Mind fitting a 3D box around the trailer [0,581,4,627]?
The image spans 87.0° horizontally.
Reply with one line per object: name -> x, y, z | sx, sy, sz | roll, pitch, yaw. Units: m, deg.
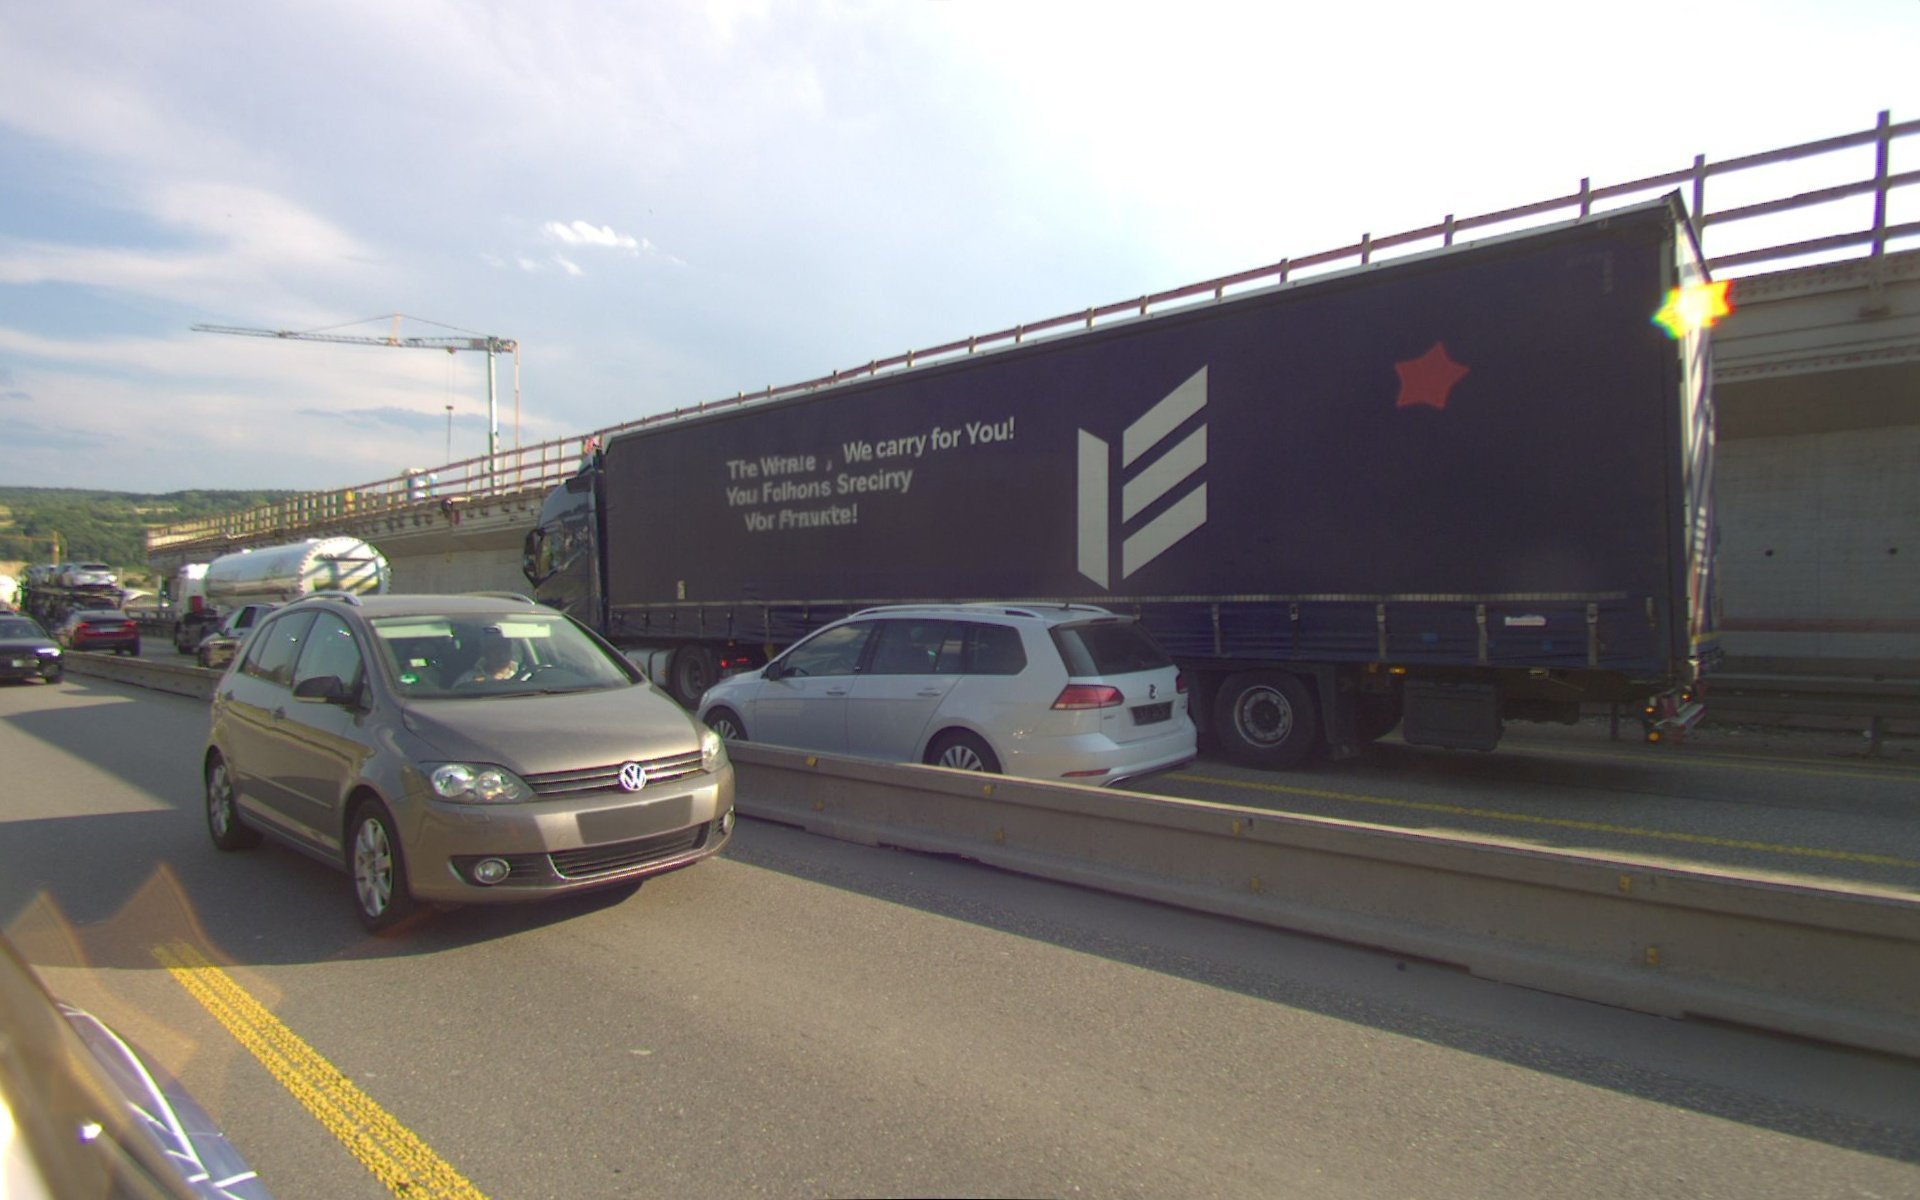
trailer -> -84.062, 0.370, 86.567 | 6.426, 3.879, 2.625 | 0, 0, 41

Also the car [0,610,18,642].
car -> -49.155, 1.303, 51.191 | 4.835, 1.563, 1.747 | 0, 0, 42

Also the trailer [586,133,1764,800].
trailer -> 0.459, -0.693, 11.971 | 14.017, 4.173, 2.736 | -2, -1, 41

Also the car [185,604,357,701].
car -> -13.536, 0.929, 19.756 | 4.686, 1.657, 1.624 | 0, 0, 41

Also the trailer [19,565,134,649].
trailer -> -48.379, 0.343, 55.121 | 15.758, 4.061, 2.742 | 0, 0, 42

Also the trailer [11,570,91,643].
trailer -> -53.991, 0.350, 60.041 | 7.205, 4.061, 2.742 | 0, 0, 42

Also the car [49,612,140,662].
car -> -29.224, 1.224, 34.113 | 4.294, 1.569, 1.707 | -1, -1, 41

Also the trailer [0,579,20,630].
trailer -> -79.347, 0.363, 82.443 | 13.435, 3.879, 2.625 | 0, 0, 41

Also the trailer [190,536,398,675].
trailer -> -20.317, 0.133, 30.463 | 10.677, 3.553, 2.530 | 0, 0, 42

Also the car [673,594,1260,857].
car -> -0.208, 0.706, 7.811 | 4.593, 1.470, 1.624 | 0, 0, 41

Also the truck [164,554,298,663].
truck -> -24.976, 0.249, 34.589 | 5.528, 3.435, 2.522 | 0, 0, 41

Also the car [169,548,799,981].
car -> -2.955, 0.698, 5.803 | 4.269, 1.601, 1.663 | -2, -4, 41

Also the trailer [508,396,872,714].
trailer -> -4.519, -0.539, 16.304 | 5.972, 4.173, 2.736 | -2, -1, 41

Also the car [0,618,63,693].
car -> -20.615, 1.129, 21.471 | 4.347, 1.430, 1.849 | 0, -1, 41
